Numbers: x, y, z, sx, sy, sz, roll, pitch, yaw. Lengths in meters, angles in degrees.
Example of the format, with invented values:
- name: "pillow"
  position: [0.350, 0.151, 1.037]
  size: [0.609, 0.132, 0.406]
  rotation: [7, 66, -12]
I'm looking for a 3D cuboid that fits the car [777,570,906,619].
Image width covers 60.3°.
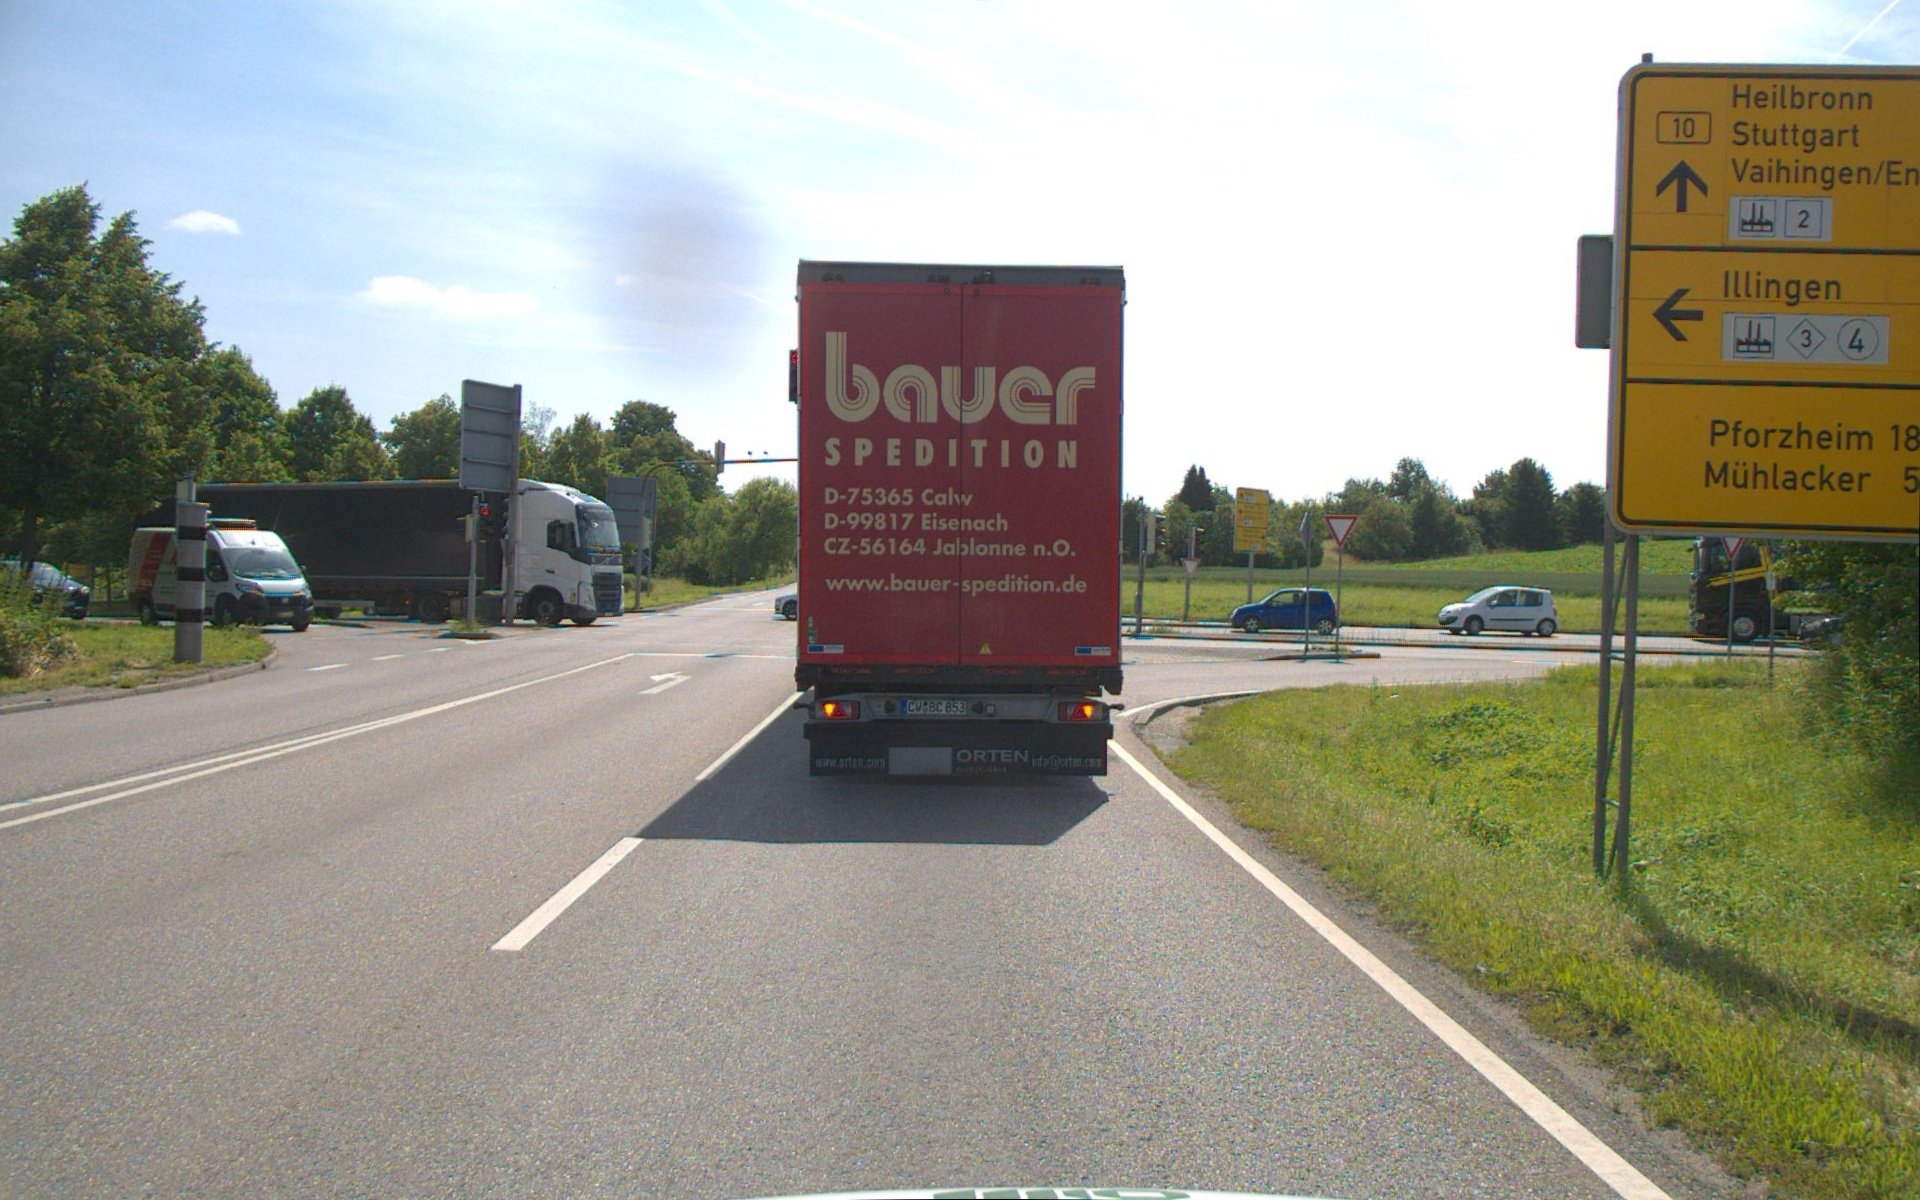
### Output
- name: "car"
  position: [-4.006, -0.168, 56.158]
  size: [4.012, 1.574, 1.875]
  rotation: [1, -1, 11]

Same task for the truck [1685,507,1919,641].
- name: "truck"
  position: [26.939, -0.865, 52.611]
  size: [6.785, 4.063, 3.029]
  rotation: [1, 1, 18]

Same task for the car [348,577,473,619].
- name: "car"
  position: [-20.190, -0.064, 60.835]
  size: [3.902, 1.454, 2.001]
  rotation: [1, 0, 15]

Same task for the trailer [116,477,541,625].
- name: "trailer"
  position: [-19.120, -1.543, 49.710]
  size: [13.401, 4.132, 2.799]
  rotation: [1, 1, 20]

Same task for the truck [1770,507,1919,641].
- name: "truck"
  position: [32.797, -0.739, 50.630]
  size: [13.983, 4.049, 3.029]
  rotation: [1, 1, 18]

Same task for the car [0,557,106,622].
- name: "car"
  position: [-26.614, -0.291, 47.929]
  size: [4.033, 1.780, 1.863]
  rotation: [1, -1, 40]

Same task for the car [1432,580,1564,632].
- name: "car"
  position: [17.582, 0.202, 54.143]
  size: [3.750, 1.662, 1.760]
  rotation: [0, -1, -3]

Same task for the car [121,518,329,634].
- name: "car"
  position: [-18.420, -0.619, 41.331]
  size: [5.867, 2.700, 2.116]
  rotation: [1, 1, 36]

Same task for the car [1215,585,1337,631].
- name: "car"
  position: [10.081, 0.229, 52.728]
  size: [3.766, 1.380, 1.678]
  rotation: [1, 0, 13]

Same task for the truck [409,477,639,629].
- name: "truck"
  position: [-12.457, -1.363, 47.370]
  size: [5.703, 4.132, 2.800]
  rotation: [1, 1, 16]

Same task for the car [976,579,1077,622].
- name: "car"
  position: [2.710, 0.010, 68.014]
  size: [1.686, 1.685, 4.220]
  rotation: [1, -1, -43]

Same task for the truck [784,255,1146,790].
- name: "truck"
  position: [-0.071, -0.678, 20.763]
  size: [2.679, 3.993, 16.623]
  rotation: [1, 1, -1]
